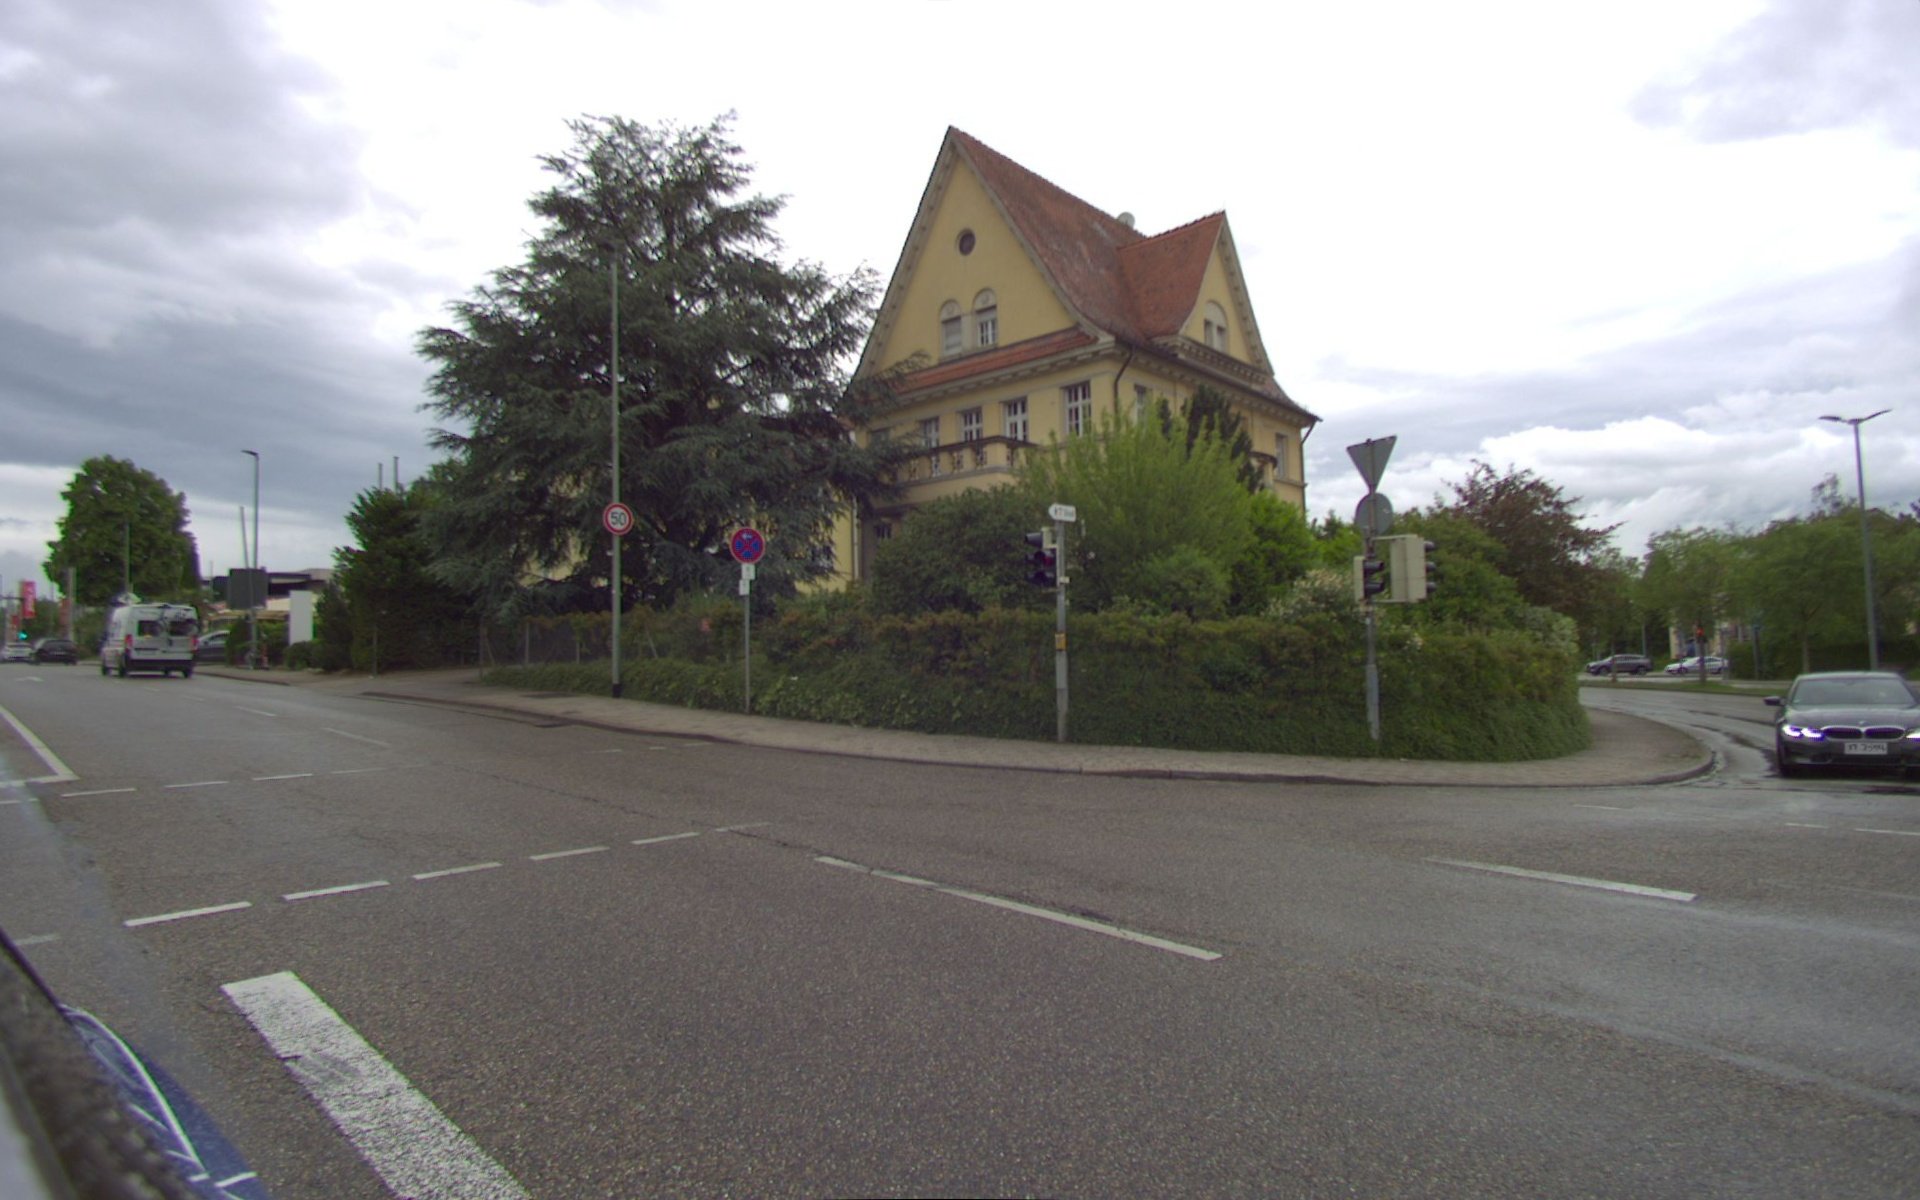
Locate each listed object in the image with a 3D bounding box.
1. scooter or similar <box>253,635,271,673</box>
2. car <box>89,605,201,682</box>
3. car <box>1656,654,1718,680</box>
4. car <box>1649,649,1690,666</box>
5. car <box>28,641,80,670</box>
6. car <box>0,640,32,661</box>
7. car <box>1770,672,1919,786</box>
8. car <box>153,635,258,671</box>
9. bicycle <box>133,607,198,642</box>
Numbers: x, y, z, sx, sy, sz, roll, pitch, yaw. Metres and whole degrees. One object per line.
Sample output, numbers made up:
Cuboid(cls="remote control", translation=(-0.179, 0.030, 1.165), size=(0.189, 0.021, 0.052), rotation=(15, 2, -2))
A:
Cuboid(cls="scooter or similar", translation=(-26.487, 2.029, 38.380), size=(0.498, 1.416, 1.885), rotation=(1, -2, -36))
Cuboid(cls="car", translation=(-29.264, 1.559, 36.252), size=(5.774, 2.547, 2.272), rotation=(-2, -5, 44))
Cuboid(cls="car", translation=(56.069, 5.149, 78.127), size=(3.667, 1.799, 1.713), rotation=(-1, -2, 31))
Cuboid(cls="car", translation=(81.184, 6.546, 115.884), size=(3.665, 1.799, 1.733), rotation=(-1, -2, 29))
Cuboid(cls="car", translation=(-50.300, 3.035, 56.155), size=(4.472, 1.513, 1.756), rotation=(-1, -2, 43))
Cuboid(cls="car", translation=(-66.019, 3.491, 70.403), size=(3.800, 1.408, 1.728), rotation=(-1, -2, 41))
Cuboid(cls="car", translation=(12.929, 1.764, 14.618), size=(1.774, 1.404, 4.378), rotation=(-2, -5, 37))
Cuboid(cls="car", translation=(-36.043, 2.499, 48.389), size=(3.873, 1.664, 1.721), rotation=(1, -2, -41))
Cuboid(cls="bicycle", translation=(-26.870, 0.856, 34.243), size=(0.468, 1.134, 1.618), rotation=(-3, -5, 43))
